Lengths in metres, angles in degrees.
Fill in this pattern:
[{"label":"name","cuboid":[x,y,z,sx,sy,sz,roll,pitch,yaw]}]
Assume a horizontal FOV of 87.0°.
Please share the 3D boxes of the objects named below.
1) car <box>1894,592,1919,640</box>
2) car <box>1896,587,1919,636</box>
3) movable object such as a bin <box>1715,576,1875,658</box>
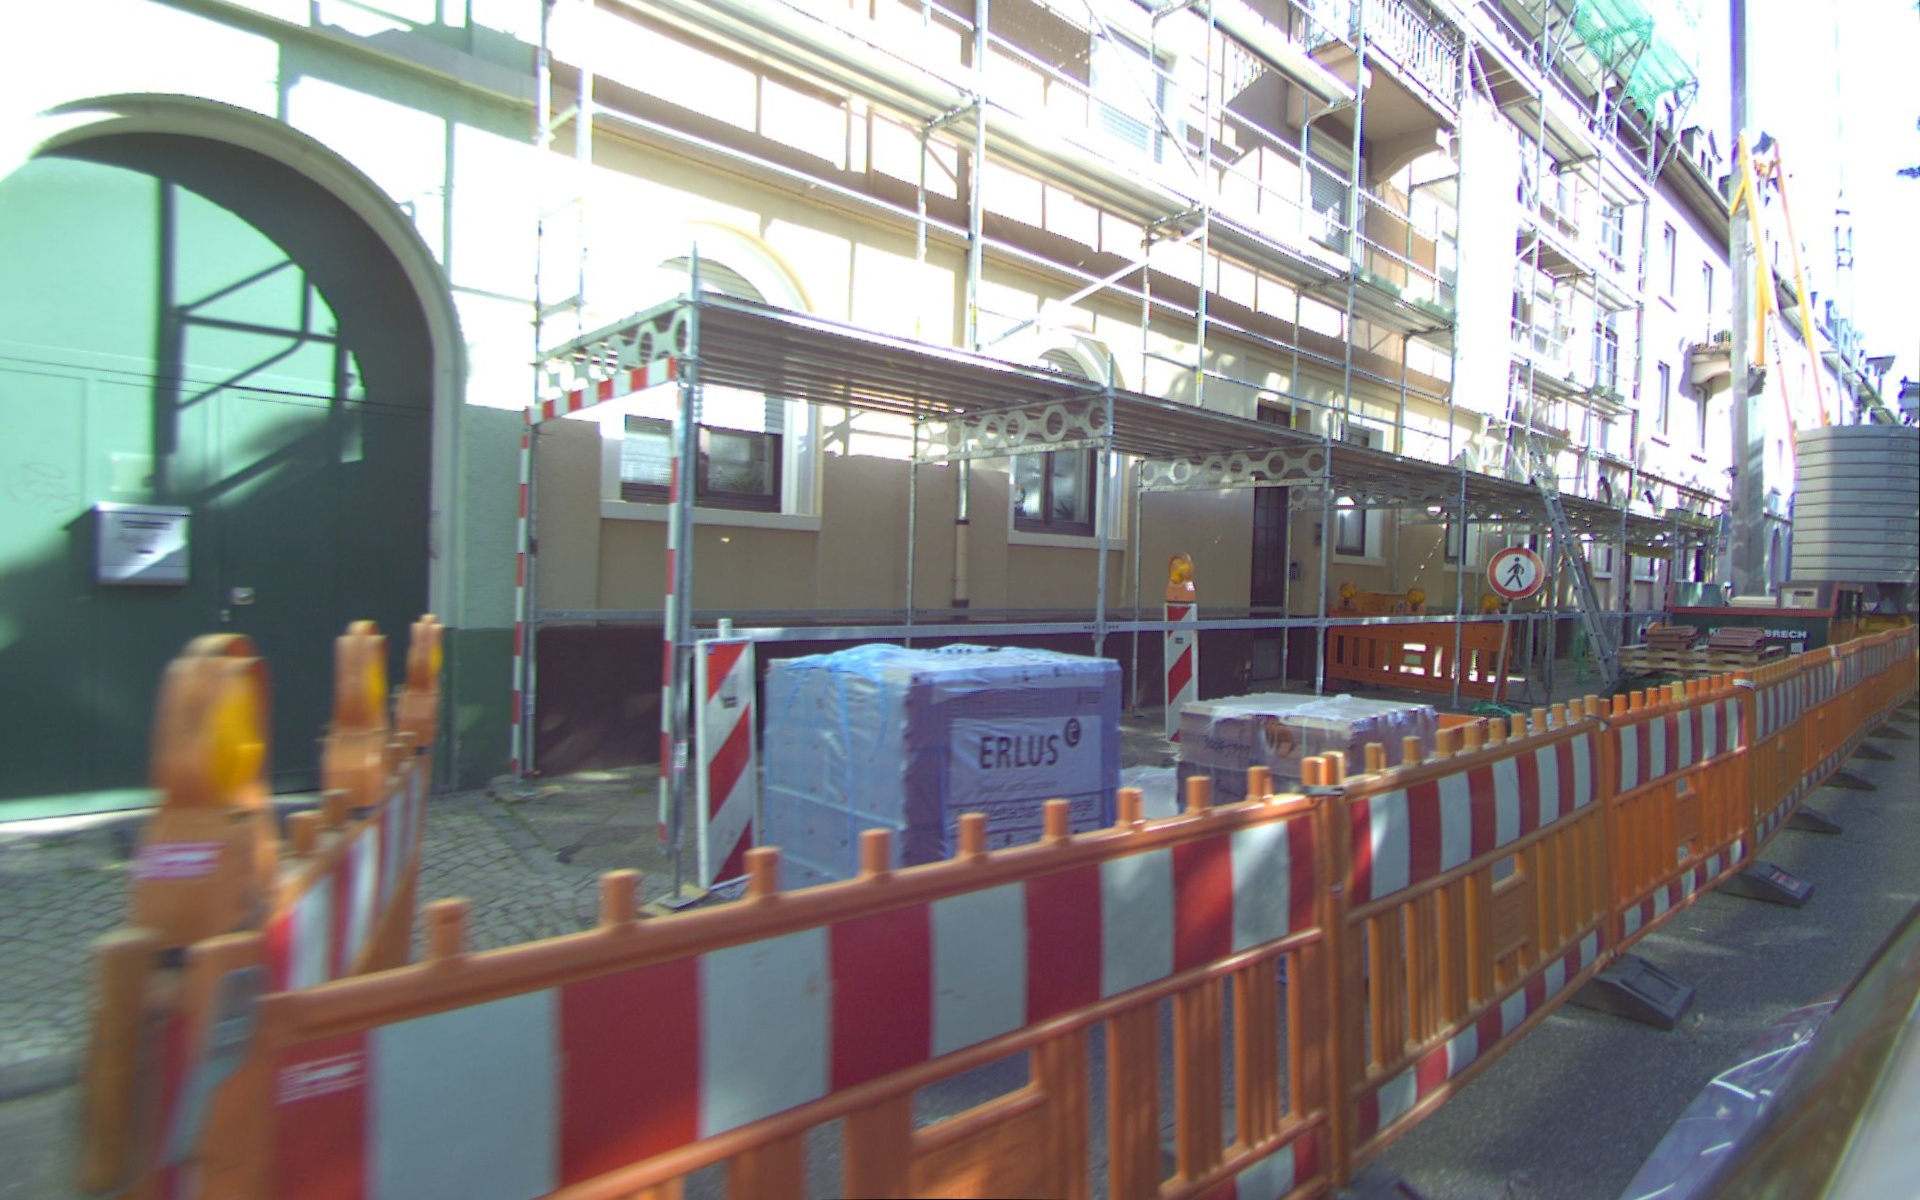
[{"label":"car","cuboid":[30.889,0.514,32.165,1.667,1.445,3.910,3,2,44]},{"label":"car","cuboid":[34.152,0.404,35.469,4.202,1.619,1.669,0,2,-44]},{"label":"movable object such as a bin","cuboid":[16.916,0.320,20.581,1.594,1.545,1.880,1,1,-8]}]
